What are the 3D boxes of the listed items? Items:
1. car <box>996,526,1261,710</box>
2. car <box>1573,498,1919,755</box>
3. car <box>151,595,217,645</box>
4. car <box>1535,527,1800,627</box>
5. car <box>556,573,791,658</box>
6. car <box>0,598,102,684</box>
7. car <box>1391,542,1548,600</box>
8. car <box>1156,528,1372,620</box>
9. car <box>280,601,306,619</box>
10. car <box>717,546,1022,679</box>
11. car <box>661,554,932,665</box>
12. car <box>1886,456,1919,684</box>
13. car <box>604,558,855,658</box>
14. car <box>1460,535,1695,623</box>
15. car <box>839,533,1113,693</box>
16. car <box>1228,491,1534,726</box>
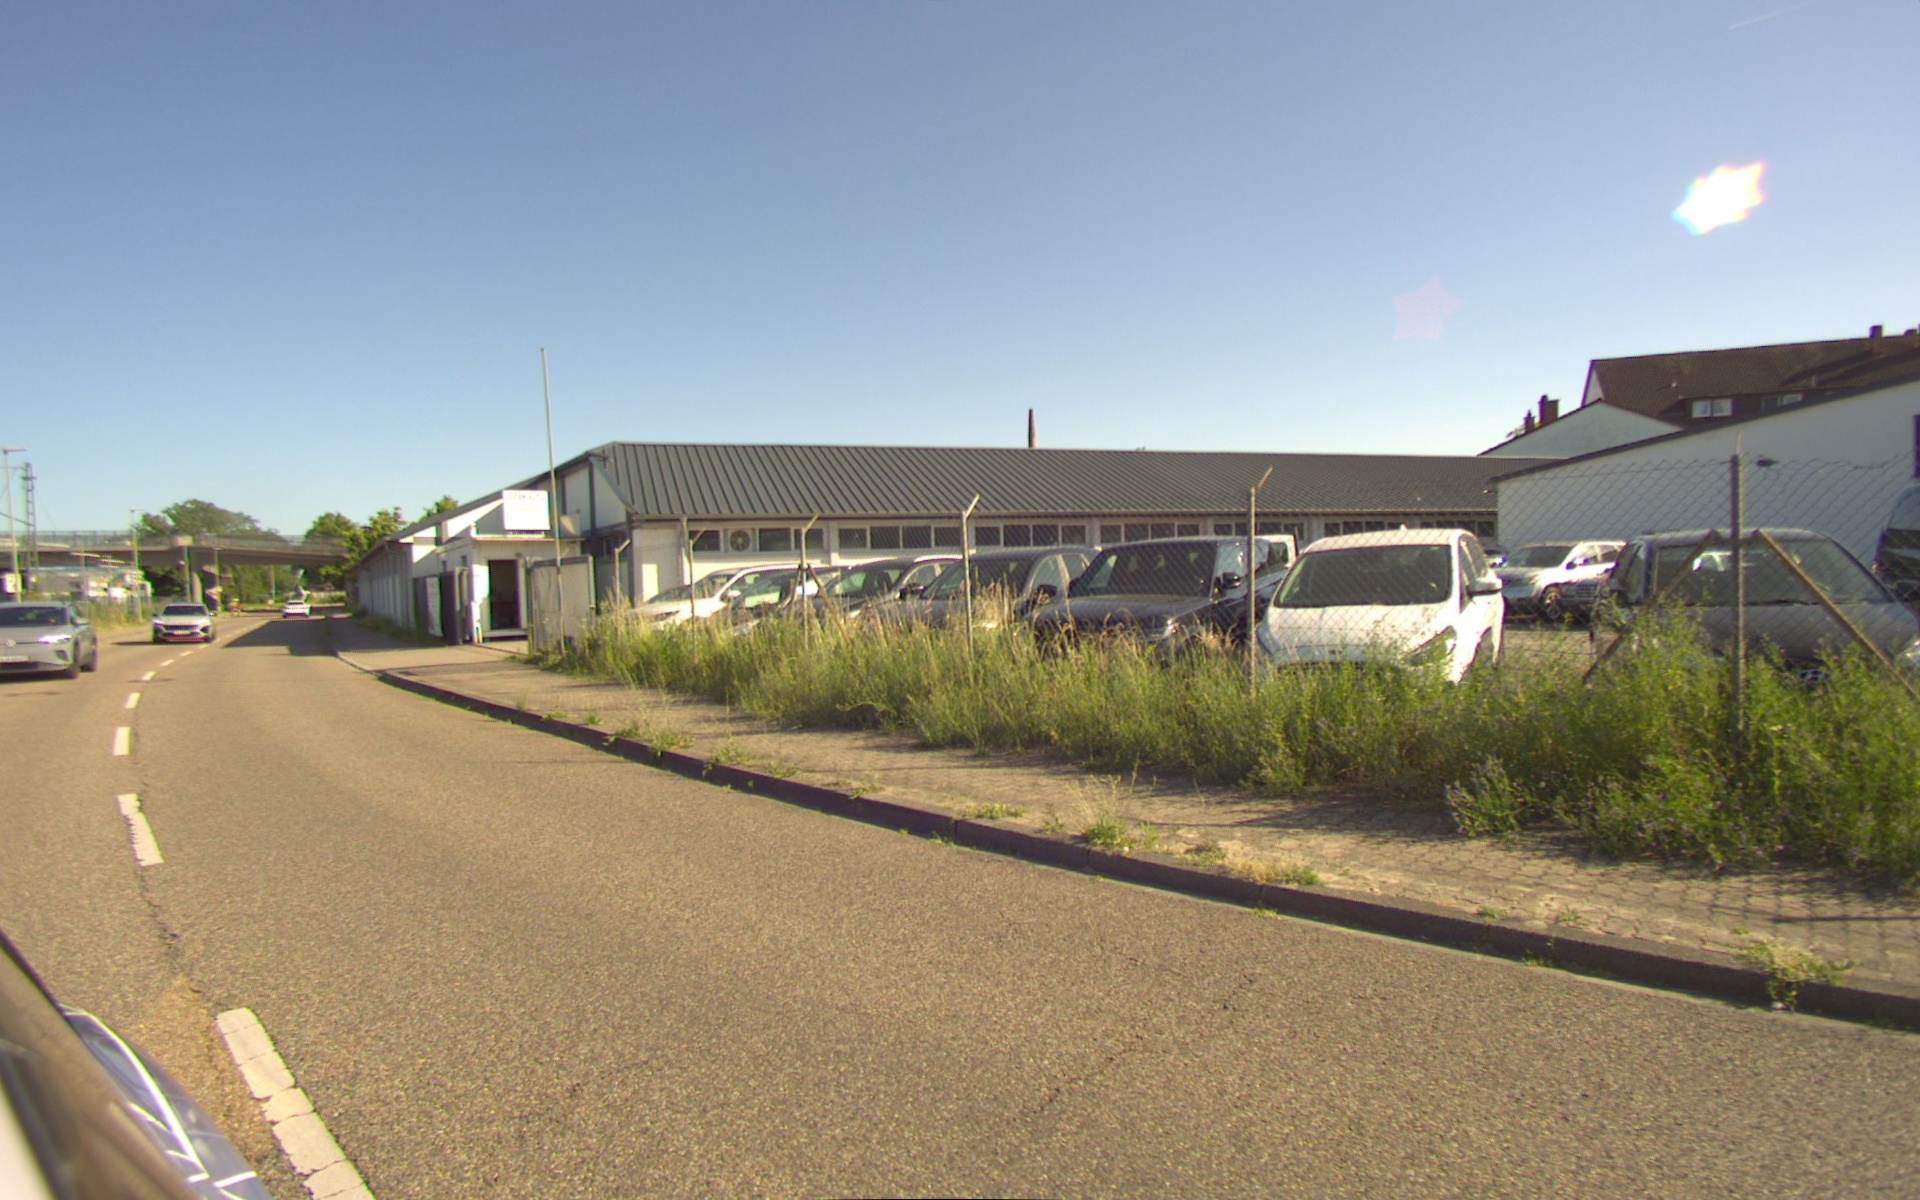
[{"bbox_3d":[2.122,0.108,11.489,1.830,1.661,4.366,-1,1,25],"label":"car"},{"bbox_3d":[6.225,0.083,7.728,1.827,1.447,4.374,-1,1,21],"label":"car"},{"bbox_3d":[-30.408,0.735,39.735,1.853,1.838,4.306,-1,1,-35],"label":"car"},{"bbox_3d":[13.227,-0.454,18.945,4.328,1.661,1.846,-2,1,-19],"label":"car"},{"bbox_3d":[-5.913,0.264,21.210,4.337,1.518,1.842,-3,2,-43],"label":"car"},{"bbox_3d":[-19.587,0.806,21.231,1.820,1.643,4.307,0,0,-32],"label":"car"},{"bbox_3d":[15.919,-0.916,31.652,4.328,1.661,1.846,-2,1,-19],"label":"car"},{"bbox_3d":[8.731,-0.780,29.077,5.665,2.288,2.117,-3,2,-18],"label":"car"},{"bbox_3d":[-56.663,0.825,86.005,1.784,1.489,4.701,-1,0,-33],"label":"car"},{"bbox_3d":[-1.186,0.088,14.915,1.840,1.661,4.342,-1,2,42],"label":"car"},{"bbox_3d":[-2.701,0.080,17.479,1.841,1.661,4.340,-1,2,45],"label":"car"},{"bbox_3d":[8.237,-0.209,6.415,1.827,1.906,4.817,-1,1,21],"label":"car"},{"bbox_3d":[-4.235,0.077,19.161,1.839,1.661,4.344,-1,2,41],"label":"car"},{"bbox_3d":[12.949,-0.461,21.235,4.328,1.661,1.846,-2,1,-19],"label":"car"},{"bbox_3d":[0.421,0.083,12.929,1.830,1.661,4.366,-1,1,25],"label":"car"},{"bbox_3d":[4.145,-0.002,9.490,1.835,1.661,4.354,-1,1,34],"label":"car"}]
